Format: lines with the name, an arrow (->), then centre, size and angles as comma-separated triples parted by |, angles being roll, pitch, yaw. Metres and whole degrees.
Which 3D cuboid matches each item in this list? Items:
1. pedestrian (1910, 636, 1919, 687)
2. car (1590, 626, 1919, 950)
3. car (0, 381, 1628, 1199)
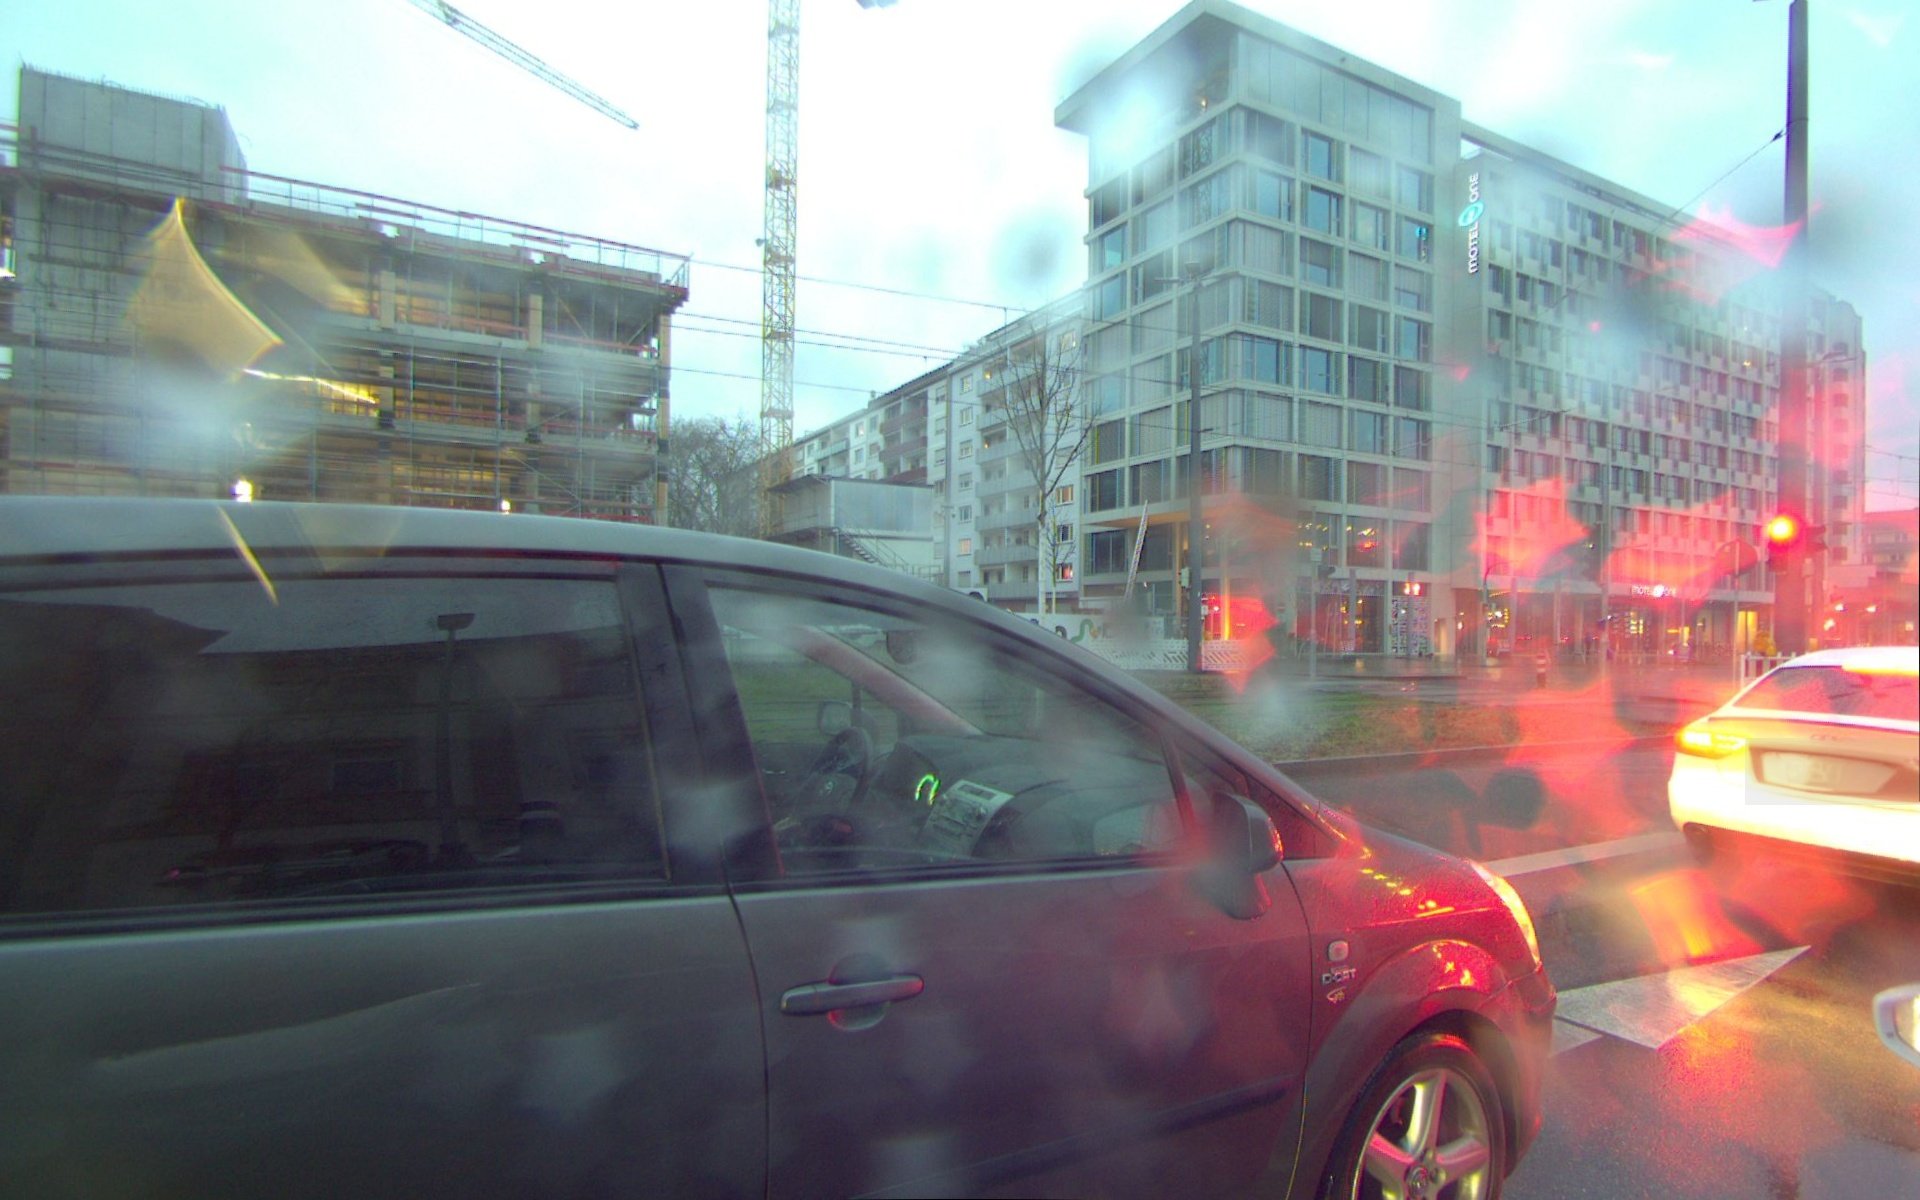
pedestrian -> 32.800, 2.100, 34.054 | 0.808, 1.734, 0.782 | 2, 0, -45
car -> 6.063, 0.934, 6.235 | 4.320, 1.475, 1.983 | 1, -1, -32
car -> -0.562, 0.658, 2.141 | 4.089, 1.668, 1.801 | 1, 0, -32
